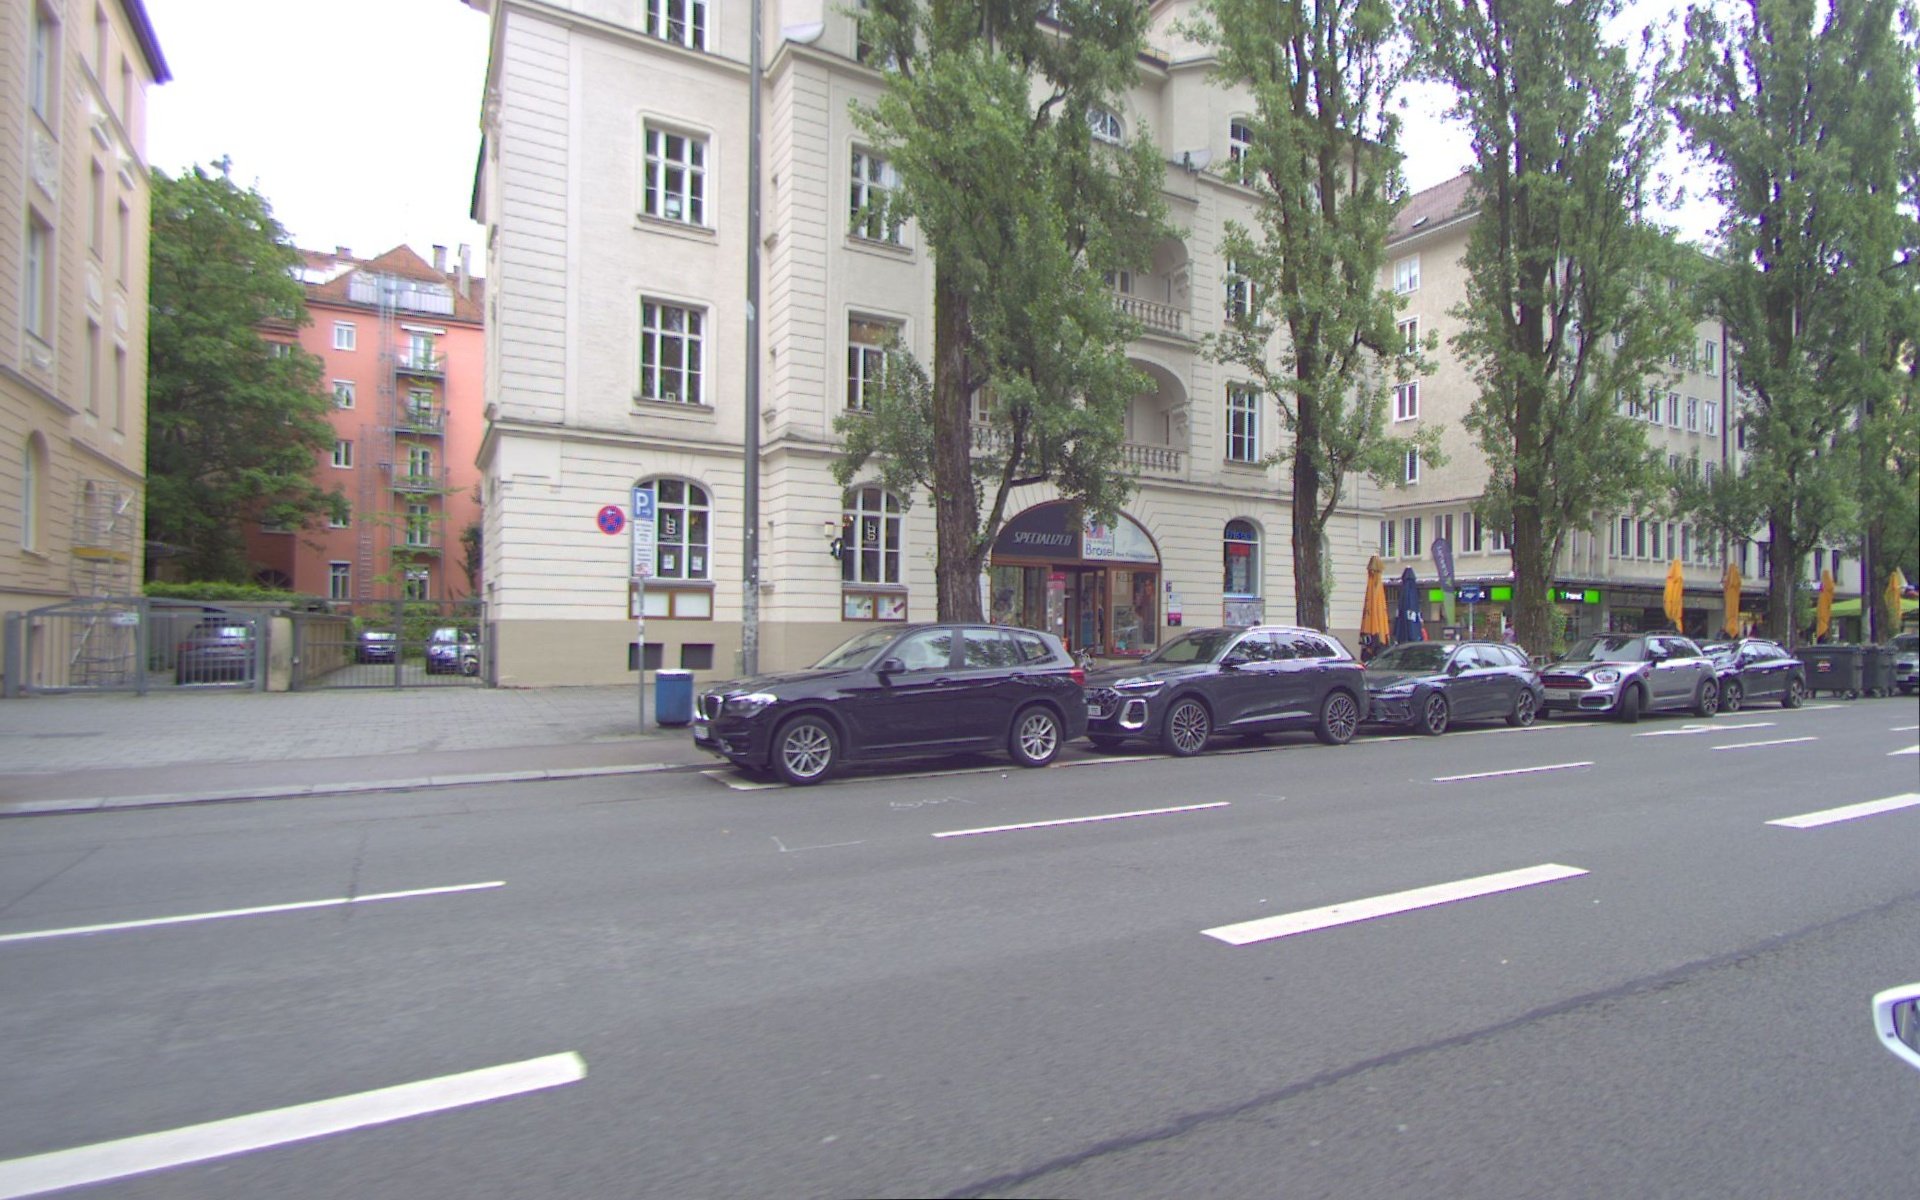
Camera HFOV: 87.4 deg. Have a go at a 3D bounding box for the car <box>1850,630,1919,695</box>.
[{"bbox_3d":[26.765,1.712,27.826,4.563,1.676,1.856,1,-4,-31],"label":"car"}]

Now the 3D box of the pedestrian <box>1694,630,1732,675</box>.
[{"bbox_3d":[30.090,2.096,40.154,1.134,1.767,0.848,1,-1,-29],"label":"pedestrian"}]

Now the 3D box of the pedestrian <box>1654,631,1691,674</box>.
[{"bbox_3d":[29.510,2.156,41.620,1.134,1.767,0.848,1,-1,-29],"label":"pedestrian"}]

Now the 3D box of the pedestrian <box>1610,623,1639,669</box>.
[{"bbox_3d":[25.493,1.744,38.524,0.817,1.744,0.622,1,-1,-31],"label":"pedestrian"}]

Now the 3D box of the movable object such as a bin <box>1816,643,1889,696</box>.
[{"bbox_3d":[23.442,1.810,26.397,0.816,1.334,1.253,1,-1,-31],"label":"movable object such as a bin"}]

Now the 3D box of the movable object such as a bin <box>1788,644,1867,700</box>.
[{"bbox_3d":[21.766,1.778,25.220,0.891,1.327,1.271,1,-1,-29],"label":"movable object such as a bin"}]

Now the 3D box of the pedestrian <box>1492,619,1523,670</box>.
[{"bbox_3d":[19.114,1.556,35.050,0.817,1.744,0.622,1,-1,-31],"label":"pedestrian"}]

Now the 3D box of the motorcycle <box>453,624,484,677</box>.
[{"bbox_3d":[-13.527,1.350,27.612,0.631,1.390,2.390,1,-1,-29],"label":"motorcycle"}]

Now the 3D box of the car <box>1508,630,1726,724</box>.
[{"bbox_3d":[12.385,1.386,18.903,4.083,1.596,1.774,1,-3,-30],"label":"car"}]

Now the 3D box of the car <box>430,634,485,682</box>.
[{"bbox_3d":[-15.191,1.713,30.301,1.397,1.326,3.147,1,-1,-28],"label":"car"}]

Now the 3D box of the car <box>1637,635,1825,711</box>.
[{"bbox_3d":[16.771,1.543,21.811,4.260,1.524,1.657,1,-3,-29],"label":"car"}]

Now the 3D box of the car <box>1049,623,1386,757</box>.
[{"bbox_3d":[3.640,1.162,14.010,4.573,1.615,1.796,1,-2,-29],"label":"car"}]

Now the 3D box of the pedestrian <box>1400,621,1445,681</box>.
[{"bbox_3d":[13.426,1.461,29.170,0.941,1.695,0.731,2,0,-30],"label":"pedestrian"}]

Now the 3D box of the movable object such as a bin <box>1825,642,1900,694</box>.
[{"bbox_3d":[24.132,1.795,26.867,0.810,1.334,1.307,1,-1,-31],"label":"movable object such as a bin"}]

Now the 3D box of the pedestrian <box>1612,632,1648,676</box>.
[{"bbox_3d":[27.647,2.210,41.449,1.134,1.768,0.848,1,0,-29],"label":"pedestrian"}]

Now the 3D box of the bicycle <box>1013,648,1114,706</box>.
[{"bbox_3d":[2.068,1.541,20.182,1.957,1.127,0.539,1,-1,-5],"label":"bicycle"}]

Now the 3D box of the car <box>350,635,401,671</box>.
[{"bbox_3d":[-24.973,2.222,43.007,1.699,1.437,3.720,1,-2,-28],"label":"car"}]

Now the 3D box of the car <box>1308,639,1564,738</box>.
[{"bbox_3d":[7.999,1.395,16.727,4.638,1.442,1.675,2,-4,-33],"label":"car"}]

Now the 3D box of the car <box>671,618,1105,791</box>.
[{"bbox_3d":[-0.733,1.069,11.506,4.661,1.639,1.811,1,-3,-31],"label":"car"}]

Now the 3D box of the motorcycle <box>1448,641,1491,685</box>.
[{"bbox_3d":[13.780,1.683,27.151,1.802,1.154,0.471,2,-2,-44],"label":"motorcycle"}]

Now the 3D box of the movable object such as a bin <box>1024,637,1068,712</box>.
[{"bbox_3d":[1.585,1.366,18.585,0.579,1.333,0.602,1,-1,-29],"label":"movable object such as a bin"}]

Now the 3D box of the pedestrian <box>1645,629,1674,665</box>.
[{"bbox_3d":[26.611,1.772,38.199,0.817,1.342,0.622,1,-1,-31],"label":"pedestrian"}]

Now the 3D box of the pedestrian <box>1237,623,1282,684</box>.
[{"bbox_3d":[7.913,1.407,26.556,0.795,1.558,0.765,2,0,-30],"label":"pedestrian"}]

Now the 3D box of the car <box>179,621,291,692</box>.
[{"bbox_3d":[-17.621,1.311,24.582,1.699,1.595,3.720,1,-1,-28],"label":"car"}]
